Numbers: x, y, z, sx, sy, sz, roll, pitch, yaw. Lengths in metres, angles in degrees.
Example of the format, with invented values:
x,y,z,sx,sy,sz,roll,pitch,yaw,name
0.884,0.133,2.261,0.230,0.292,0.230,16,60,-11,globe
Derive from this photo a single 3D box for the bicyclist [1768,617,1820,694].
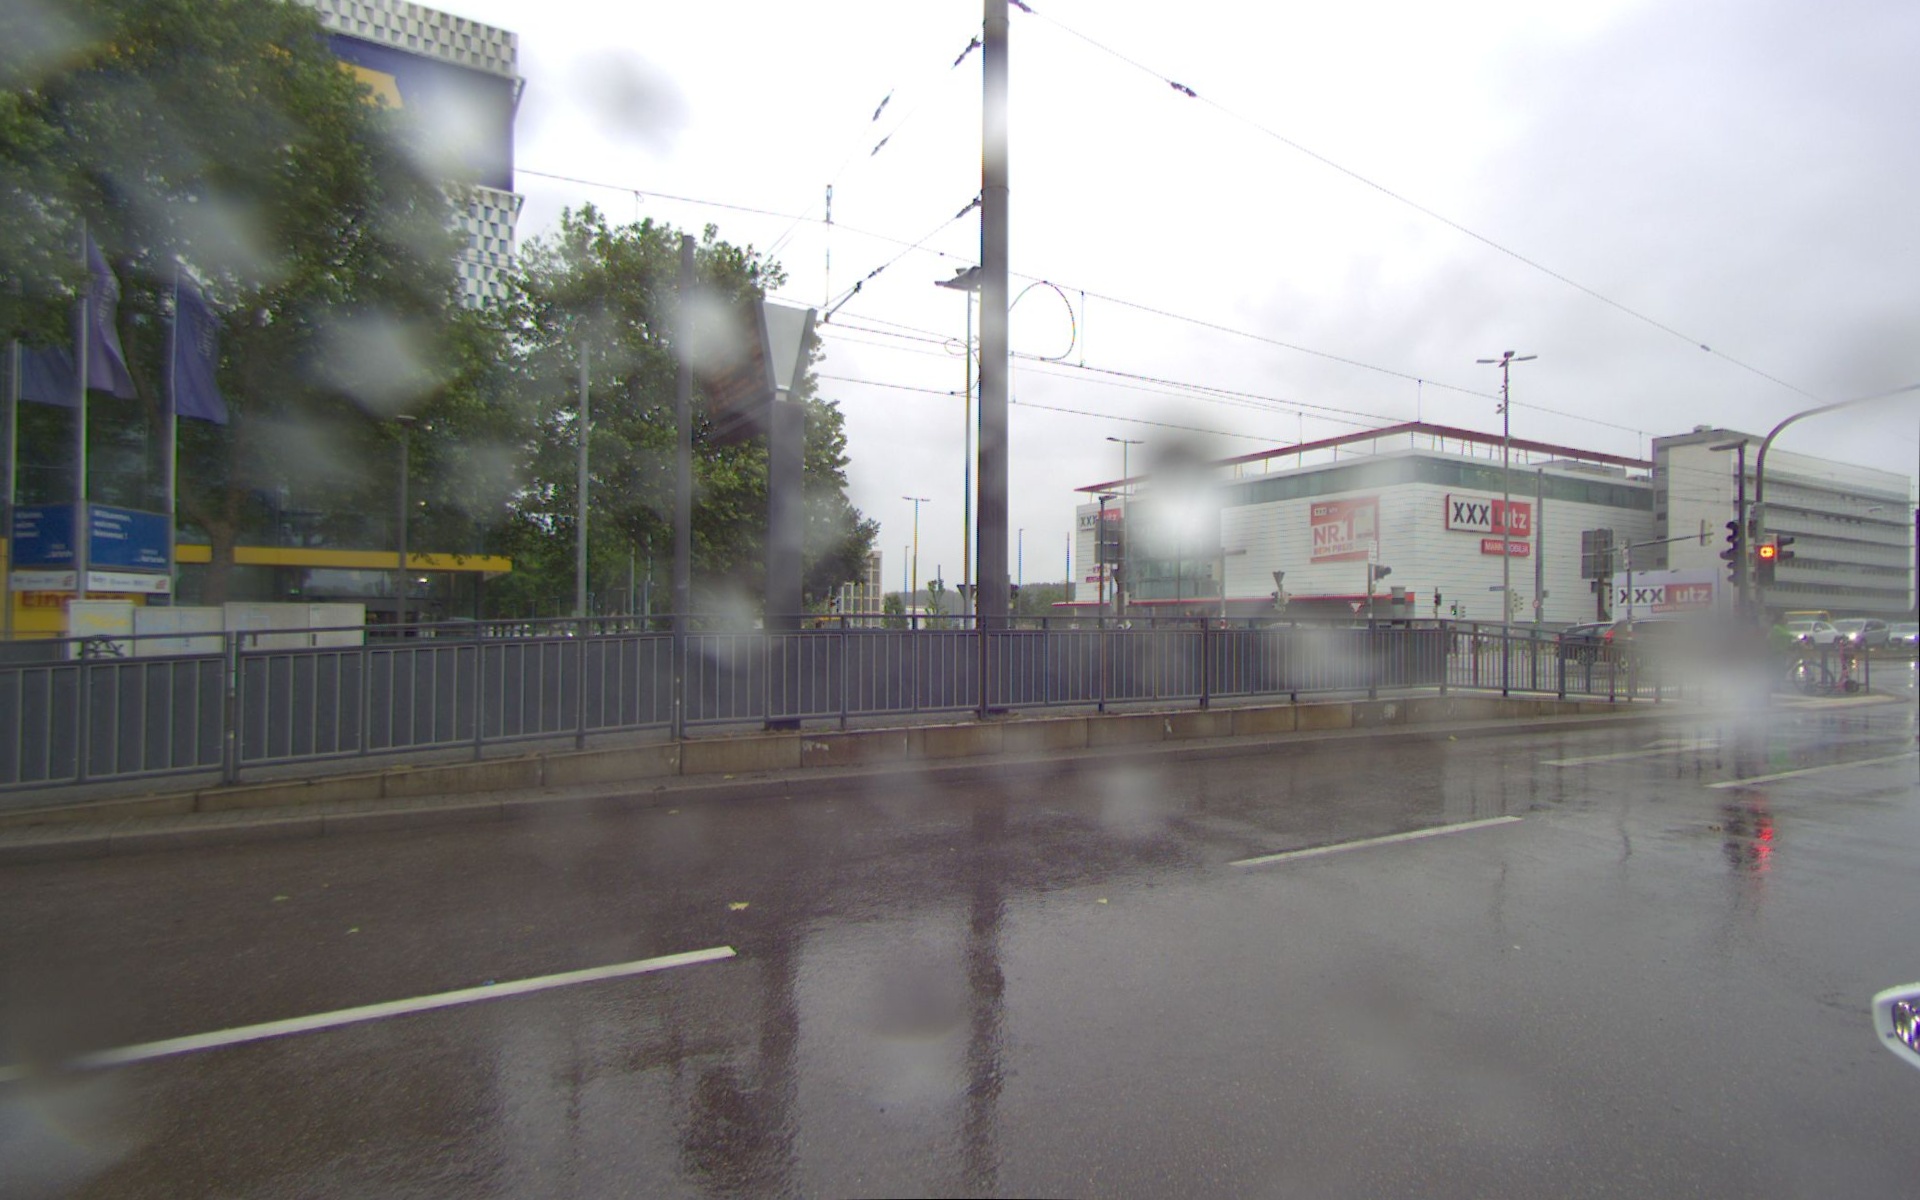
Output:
x,y,z,sx,sy,sz,roll,pitch,yaw,name
16.893,1.109,20.359,0.593,1.511,0.600,2,1,20,bicyclist

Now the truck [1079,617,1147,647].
x,y,z,sx,sy,sz,roll,pitch,yaw,name
11.990,2.484,79.249,1.990,1.968,5.847,3,1,-31,truck

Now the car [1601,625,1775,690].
x,y,z,sx,sy,sz,roll,pitch,yaw,name
20.705,1.569,28.656,3.865,1.417,1.528,5,3,40,car

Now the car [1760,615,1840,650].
x,y,z,sx,sy,sz,roll,pitch,yaw,name
39.810,1.547,47.615,3.765,1.445,1.702,2,1,-30,car

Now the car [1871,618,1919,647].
x,y,z,sx,sy,sz,roll,pitch,yaw,name
50.968,1.776,54.263,3.527,1.445,1.552,2,1,-30,car

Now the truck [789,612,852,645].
x,y,z,sx,sy,sz,roll,pitch,yaw,name
-11.518,2.326,82.290,2.445,2.240,7.329,3,1,-31,truck

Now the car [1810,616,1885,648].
x,y,z,sx,sy,sz,roll,pitch,yaw,name
44.789,1.625,50.669,3.765,1.445,1.702,2,1,-30,car

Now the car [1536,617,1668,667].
x,y,z,sx,sy,sz,roll,pitch,yaw,name
22.167,1.434,34.777,3.384,1.417,1.651,3,2,8,car

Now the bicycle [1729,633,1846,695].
x,y,z,sx,sy,sz,roll,pitch,yaw,name
16.764,1.279,20.389,1.724,1.153,0.520,2,0,18,bicycle

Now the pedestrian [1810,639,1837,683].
x,y,z,sx,sy,sz,roll,pitch,yaw,name
18.487,1.307,21.512,0.376,0.909,0.313,1,2,-32,pedestrian
